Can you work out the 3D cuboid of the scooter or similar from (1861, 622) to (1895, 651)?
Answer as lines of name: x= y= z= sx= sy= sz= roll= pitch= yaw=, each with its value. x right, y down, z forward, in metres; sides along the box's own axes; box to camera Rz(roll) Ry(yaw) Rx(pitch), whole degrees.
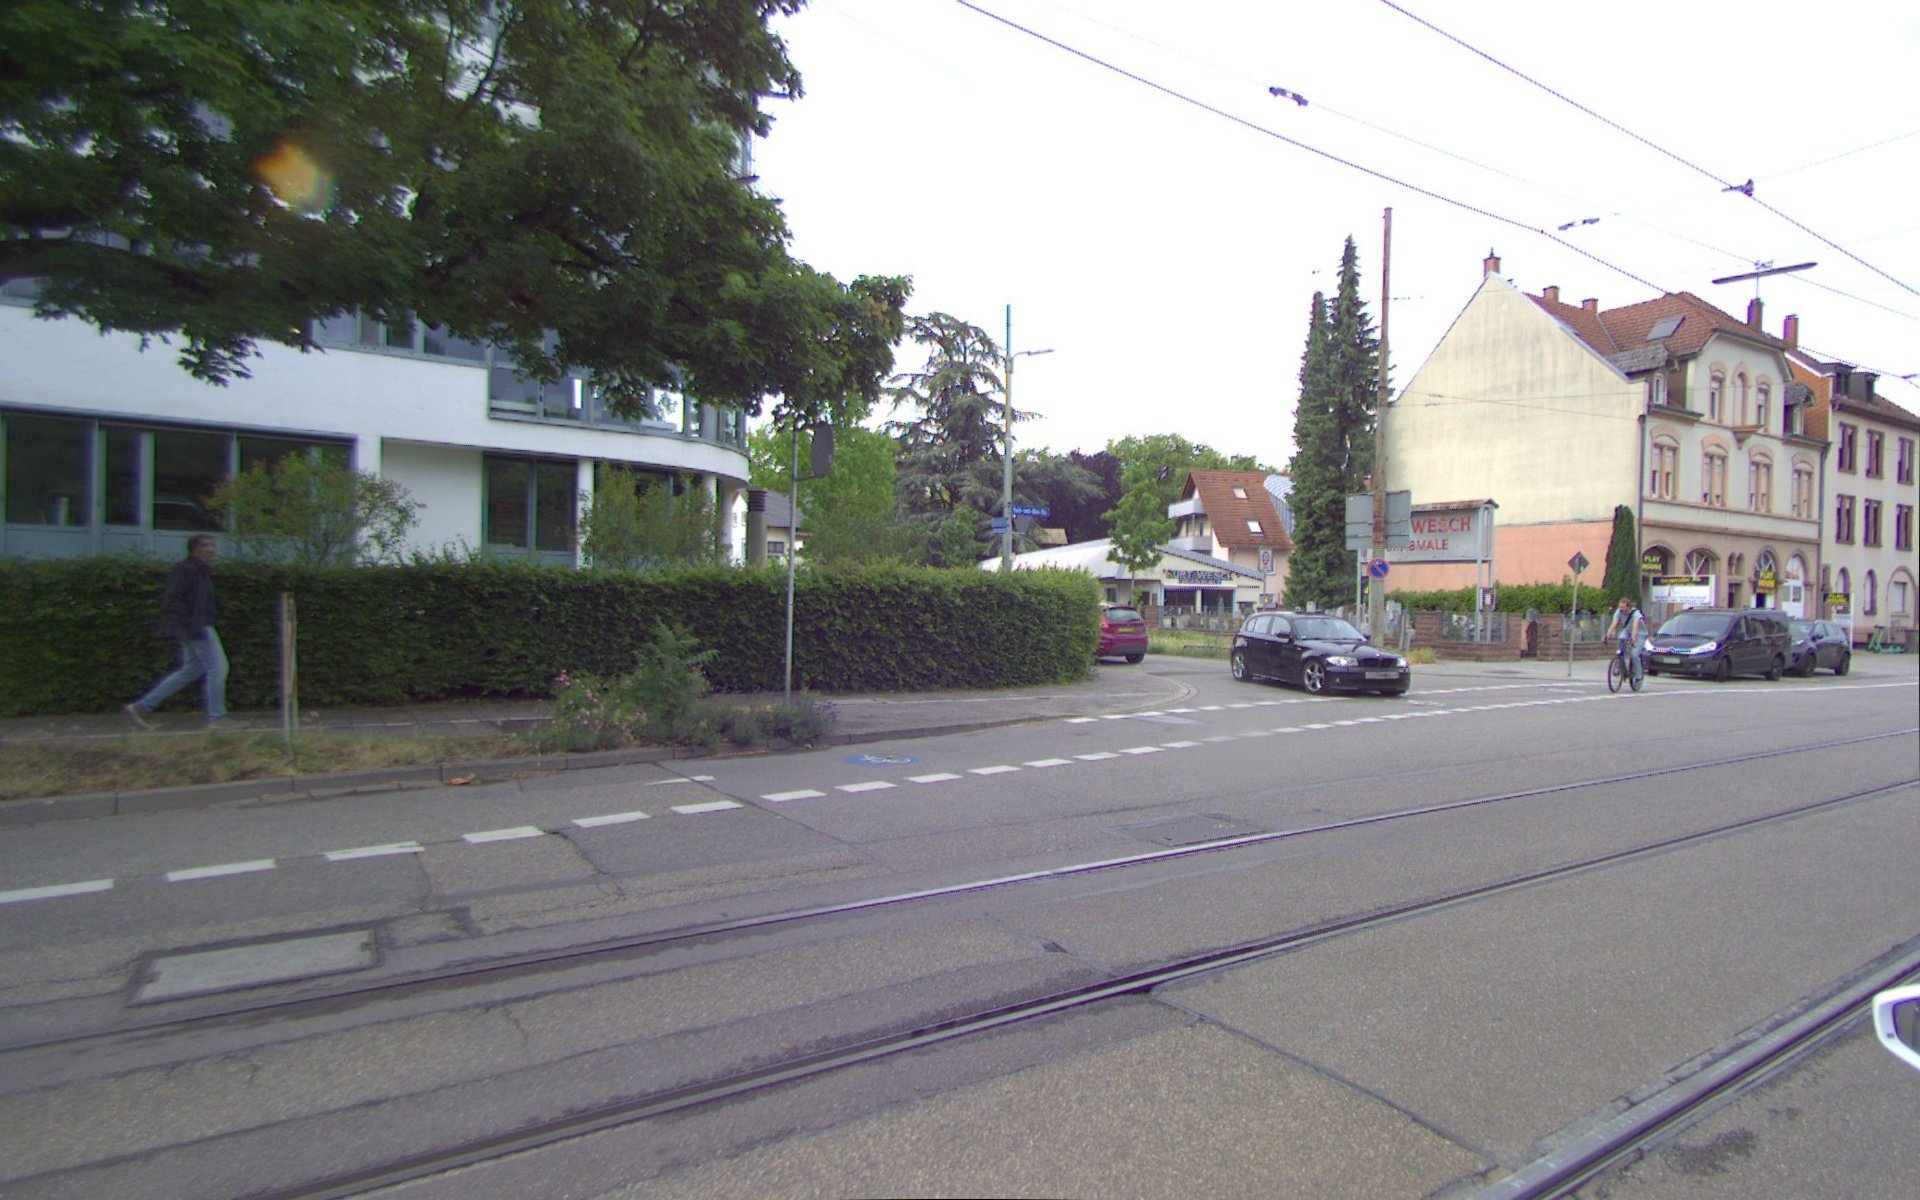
scooter or similar: x=40.843 y=1.612 z=44.701 sx=1.032 sy=1.204 sz=0.318 roll=3 pitch=1 yaw=26

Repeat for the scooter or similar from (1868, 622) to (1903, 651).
scooter or similar: x=40.645 y=1.609 z=44.132 sx=1.032 sy=1.204 sz=0.318 roll=3 pitch=1 yaw=26

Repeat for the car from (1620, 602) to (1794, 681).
car: x=20.345 y=1.117 z=27.308 sx=4.939 sy=1.912 sz=1.982 roll=2 pitch=1 yaw=-30

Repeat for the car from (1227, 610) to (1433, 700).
car: x=6.645 y=0.939 z=18.519 sx=1.770 sy=1.406 sz=3.924 roll=1 pitch=0 yaw=-11

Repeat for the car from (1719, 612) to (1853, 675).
car: x=25.174 y=1.309 z=30.579 sx=4.145 sy=1.741 sz=1.835 roll=2 pitch=1 yaw=-31

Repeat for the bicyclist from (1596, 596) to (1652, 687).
bicyclist: x=13.327 y=0.816 z=20.158 sx=0.972 sy=1.772 sz=0.728 roll=1 pitch=-1 yaw=-43

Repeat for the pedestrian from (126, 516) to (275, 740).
pedestrian: x=-7.294 y=0.264 z=9.697 sx=0.978 sy=2.040 sz=0.708 roll=2 pitch=1 yaw=-26

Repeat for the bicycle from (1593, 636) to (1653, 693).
bicycle: x=13.322 y=1.273 z=20.150 sx=1.943 sy=1.088 sz=0.581 roll=2 pitch=-1 yaw=-43

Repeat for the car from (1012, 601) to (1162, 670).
car: x=3.054 y=0.803 z=24.843 sx=1.748 sy=1.437 sz=3.688 roll=-1 pitch=2 yaw=-32
